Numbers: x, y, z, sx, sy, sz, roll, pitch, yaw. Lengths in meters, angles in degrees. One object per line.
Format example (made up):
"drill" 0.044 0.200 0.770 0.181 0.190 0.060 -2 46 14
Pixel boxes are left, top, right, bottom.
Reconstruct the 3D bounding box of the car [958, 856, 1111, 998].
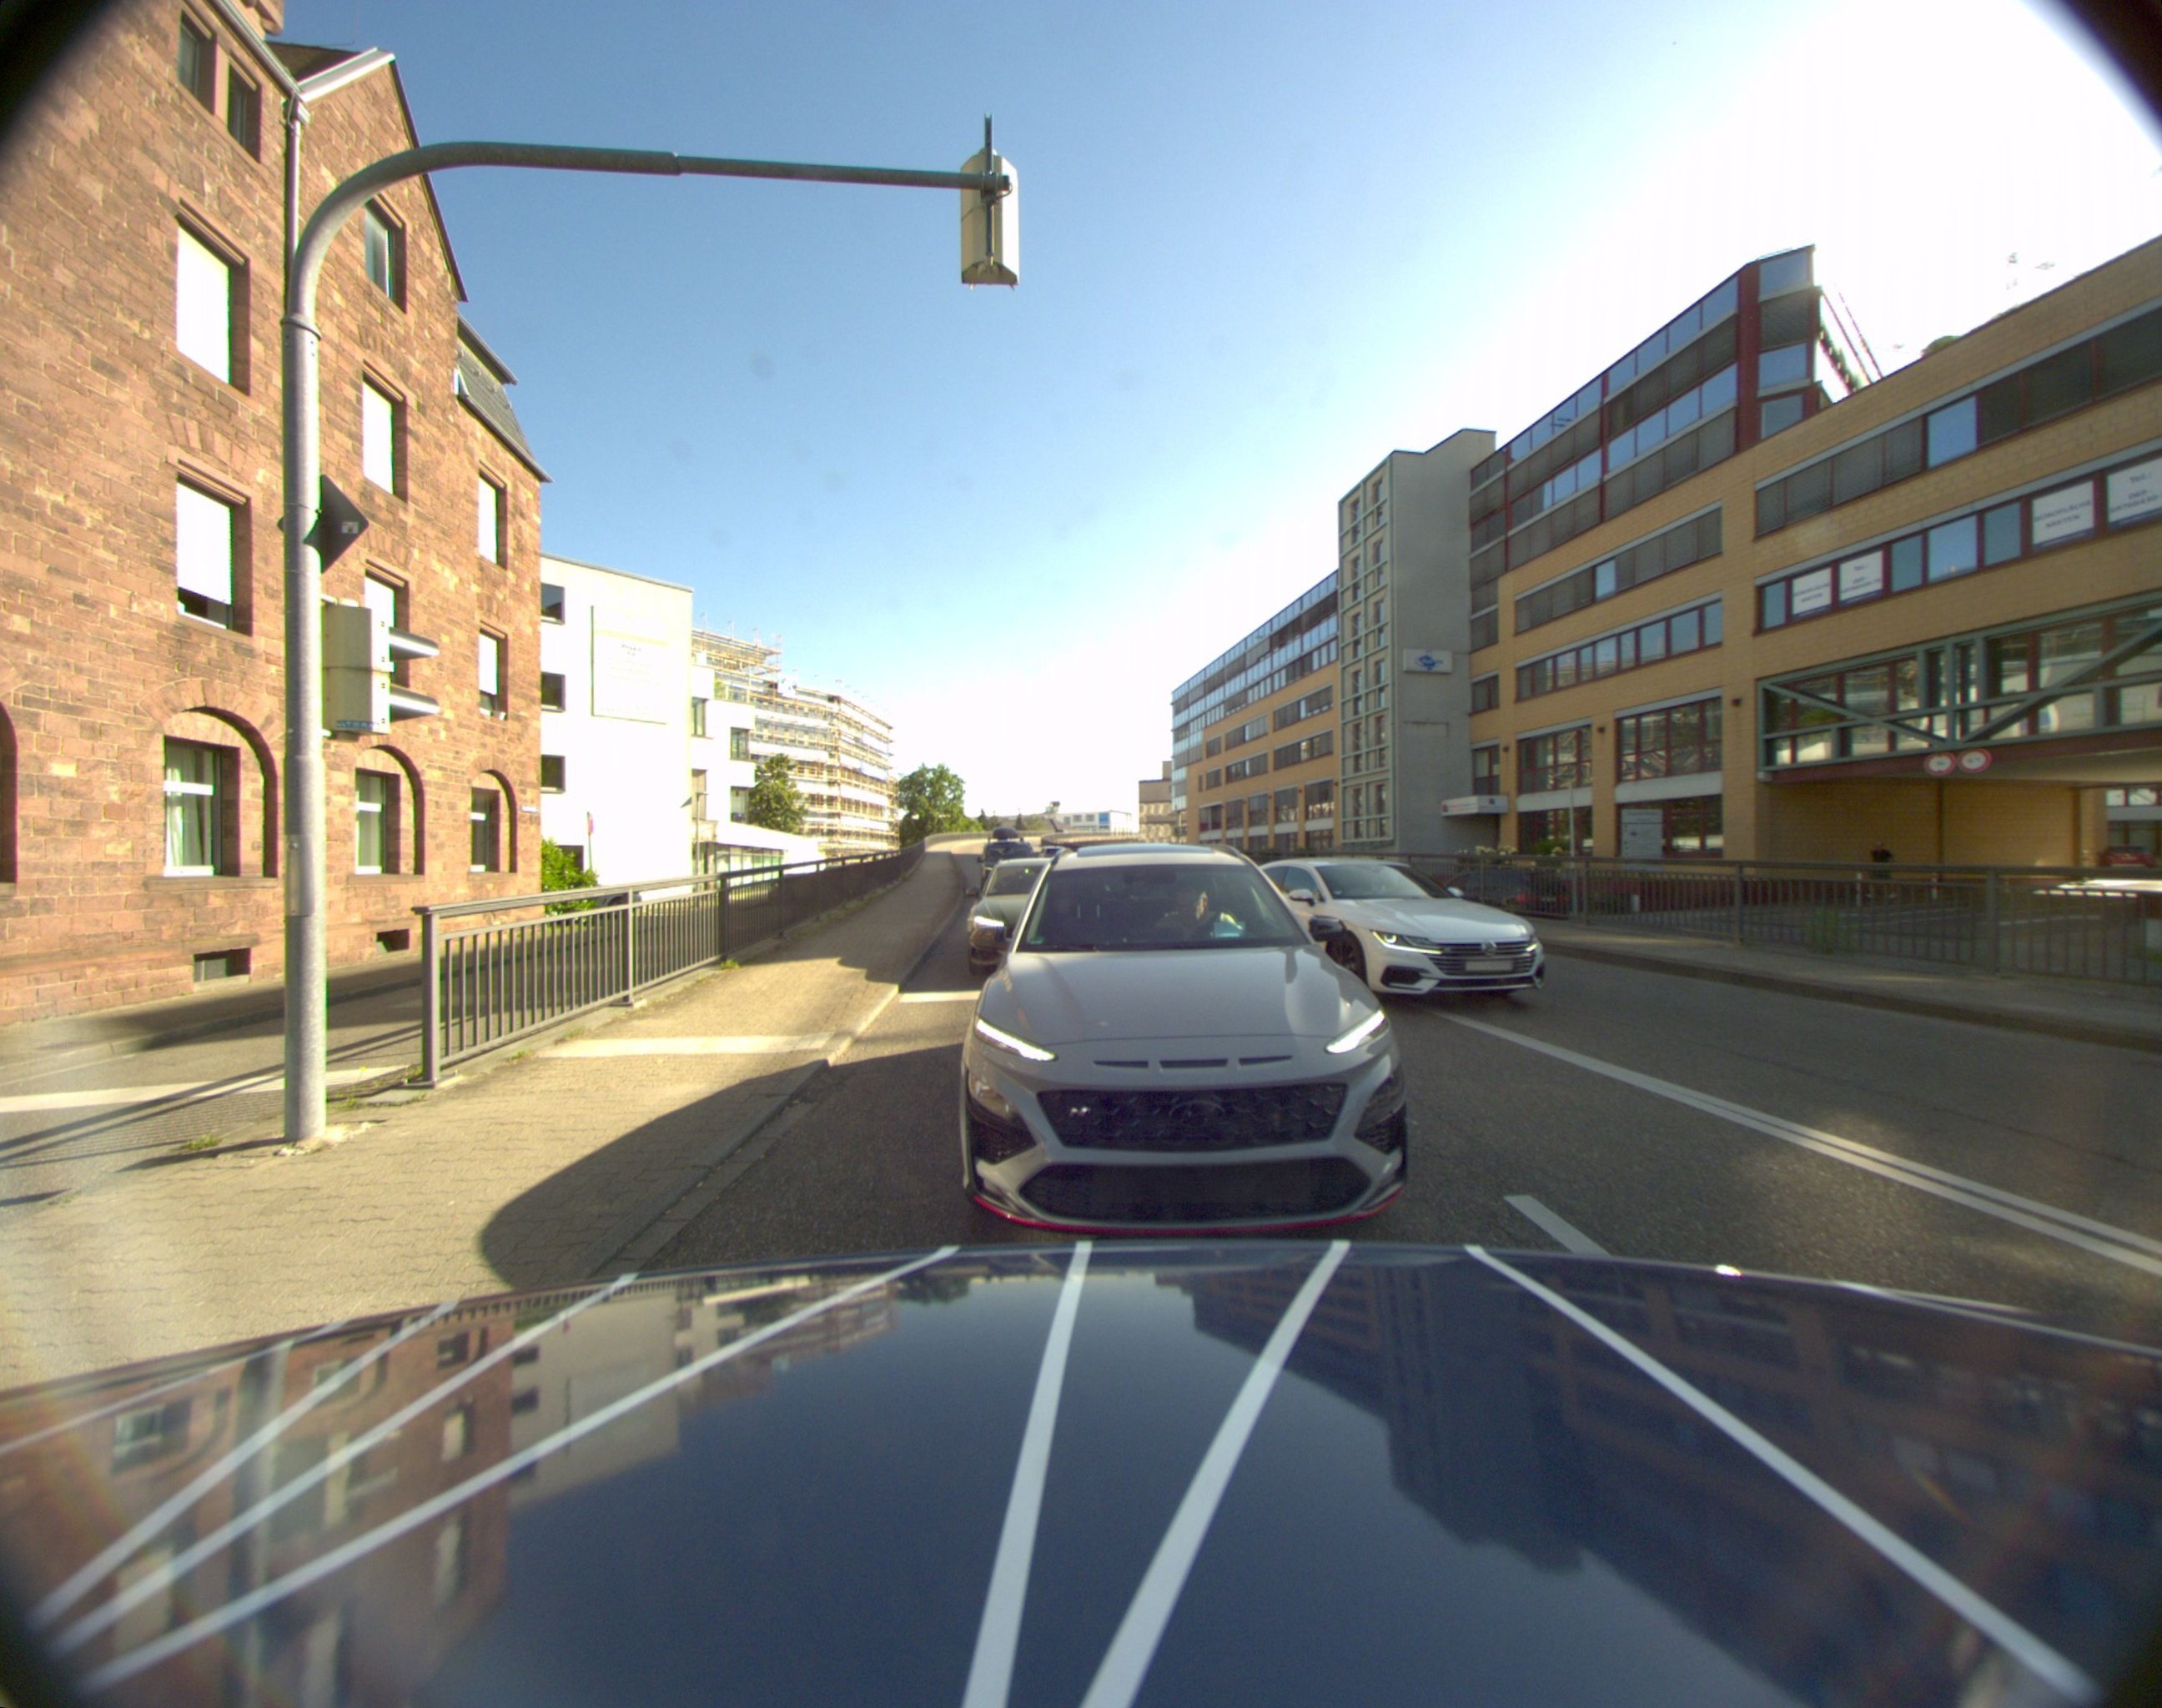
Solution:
"car" -0.556 0.847 10.790 1.721 1.483 4.167 -1 2 -1

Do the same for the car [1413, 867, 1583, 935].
"car" 12.409 1.305 23.033 1.957 1.747 4.683 -1 0 -11

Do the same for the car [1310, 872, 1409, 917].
"car" 11.089 1.563 30.615 1.826 1.594 4.353 0 0 -10

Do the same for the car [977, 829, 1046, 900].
"car" -2.479 0.243 26.022 1.911 2.202 4.592 0 2 -11

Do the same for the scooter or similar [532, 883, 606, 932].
"scooter or similar" -14.268 1.474 21.215 1.463 1.212 0.784 -3 1 -14

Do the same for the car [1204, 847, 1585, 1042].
"car" 3.100 0.738 8.732 1.851 1.527 4.502 -1 2 -11

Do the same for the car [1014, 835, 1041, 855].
"car" -4.568 -0.779 64.595 1.840 1.643 4.624 1 1 -9

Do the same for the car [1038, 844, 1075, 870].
"car" -1.481 0.181 44.903 1.692 1.448 3.910 0 0 -10

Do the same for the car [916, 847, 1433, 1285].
"car" 0.378 0.756 4.861 1.849 1.561 4.220 -1 1 1

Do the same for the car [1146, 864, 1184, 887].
"car" 6.379 1.601 57.982 2.000 1.652 3.997 0 0 -7

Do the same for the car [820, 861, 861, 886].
"car" -15.526 1.239 49.185 1.850 1.526 3.997 0 0 -7

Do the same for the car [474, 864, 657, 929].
"car" -16.975 1.303 25.229 1.823 1.757 4.658 1 2 42

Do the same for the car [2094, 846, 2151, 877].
"car" 53.700 0.390 39.231 3.159 1.564 1.639 0 -1 -38

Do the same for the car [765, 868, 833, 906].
"car" -13.042 1.494 35.438 1.850 1.422 4.678 -1 2 -6

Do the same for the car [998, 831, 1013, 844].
"car" -9.489 -2.032 95.475 1.825 1.494 4.449 0 -1 -6

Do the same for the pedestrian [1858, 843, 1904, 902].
"pedestrian" 25.353 0.567 24.076 0.787 1.833 0.678 0 0 -12
